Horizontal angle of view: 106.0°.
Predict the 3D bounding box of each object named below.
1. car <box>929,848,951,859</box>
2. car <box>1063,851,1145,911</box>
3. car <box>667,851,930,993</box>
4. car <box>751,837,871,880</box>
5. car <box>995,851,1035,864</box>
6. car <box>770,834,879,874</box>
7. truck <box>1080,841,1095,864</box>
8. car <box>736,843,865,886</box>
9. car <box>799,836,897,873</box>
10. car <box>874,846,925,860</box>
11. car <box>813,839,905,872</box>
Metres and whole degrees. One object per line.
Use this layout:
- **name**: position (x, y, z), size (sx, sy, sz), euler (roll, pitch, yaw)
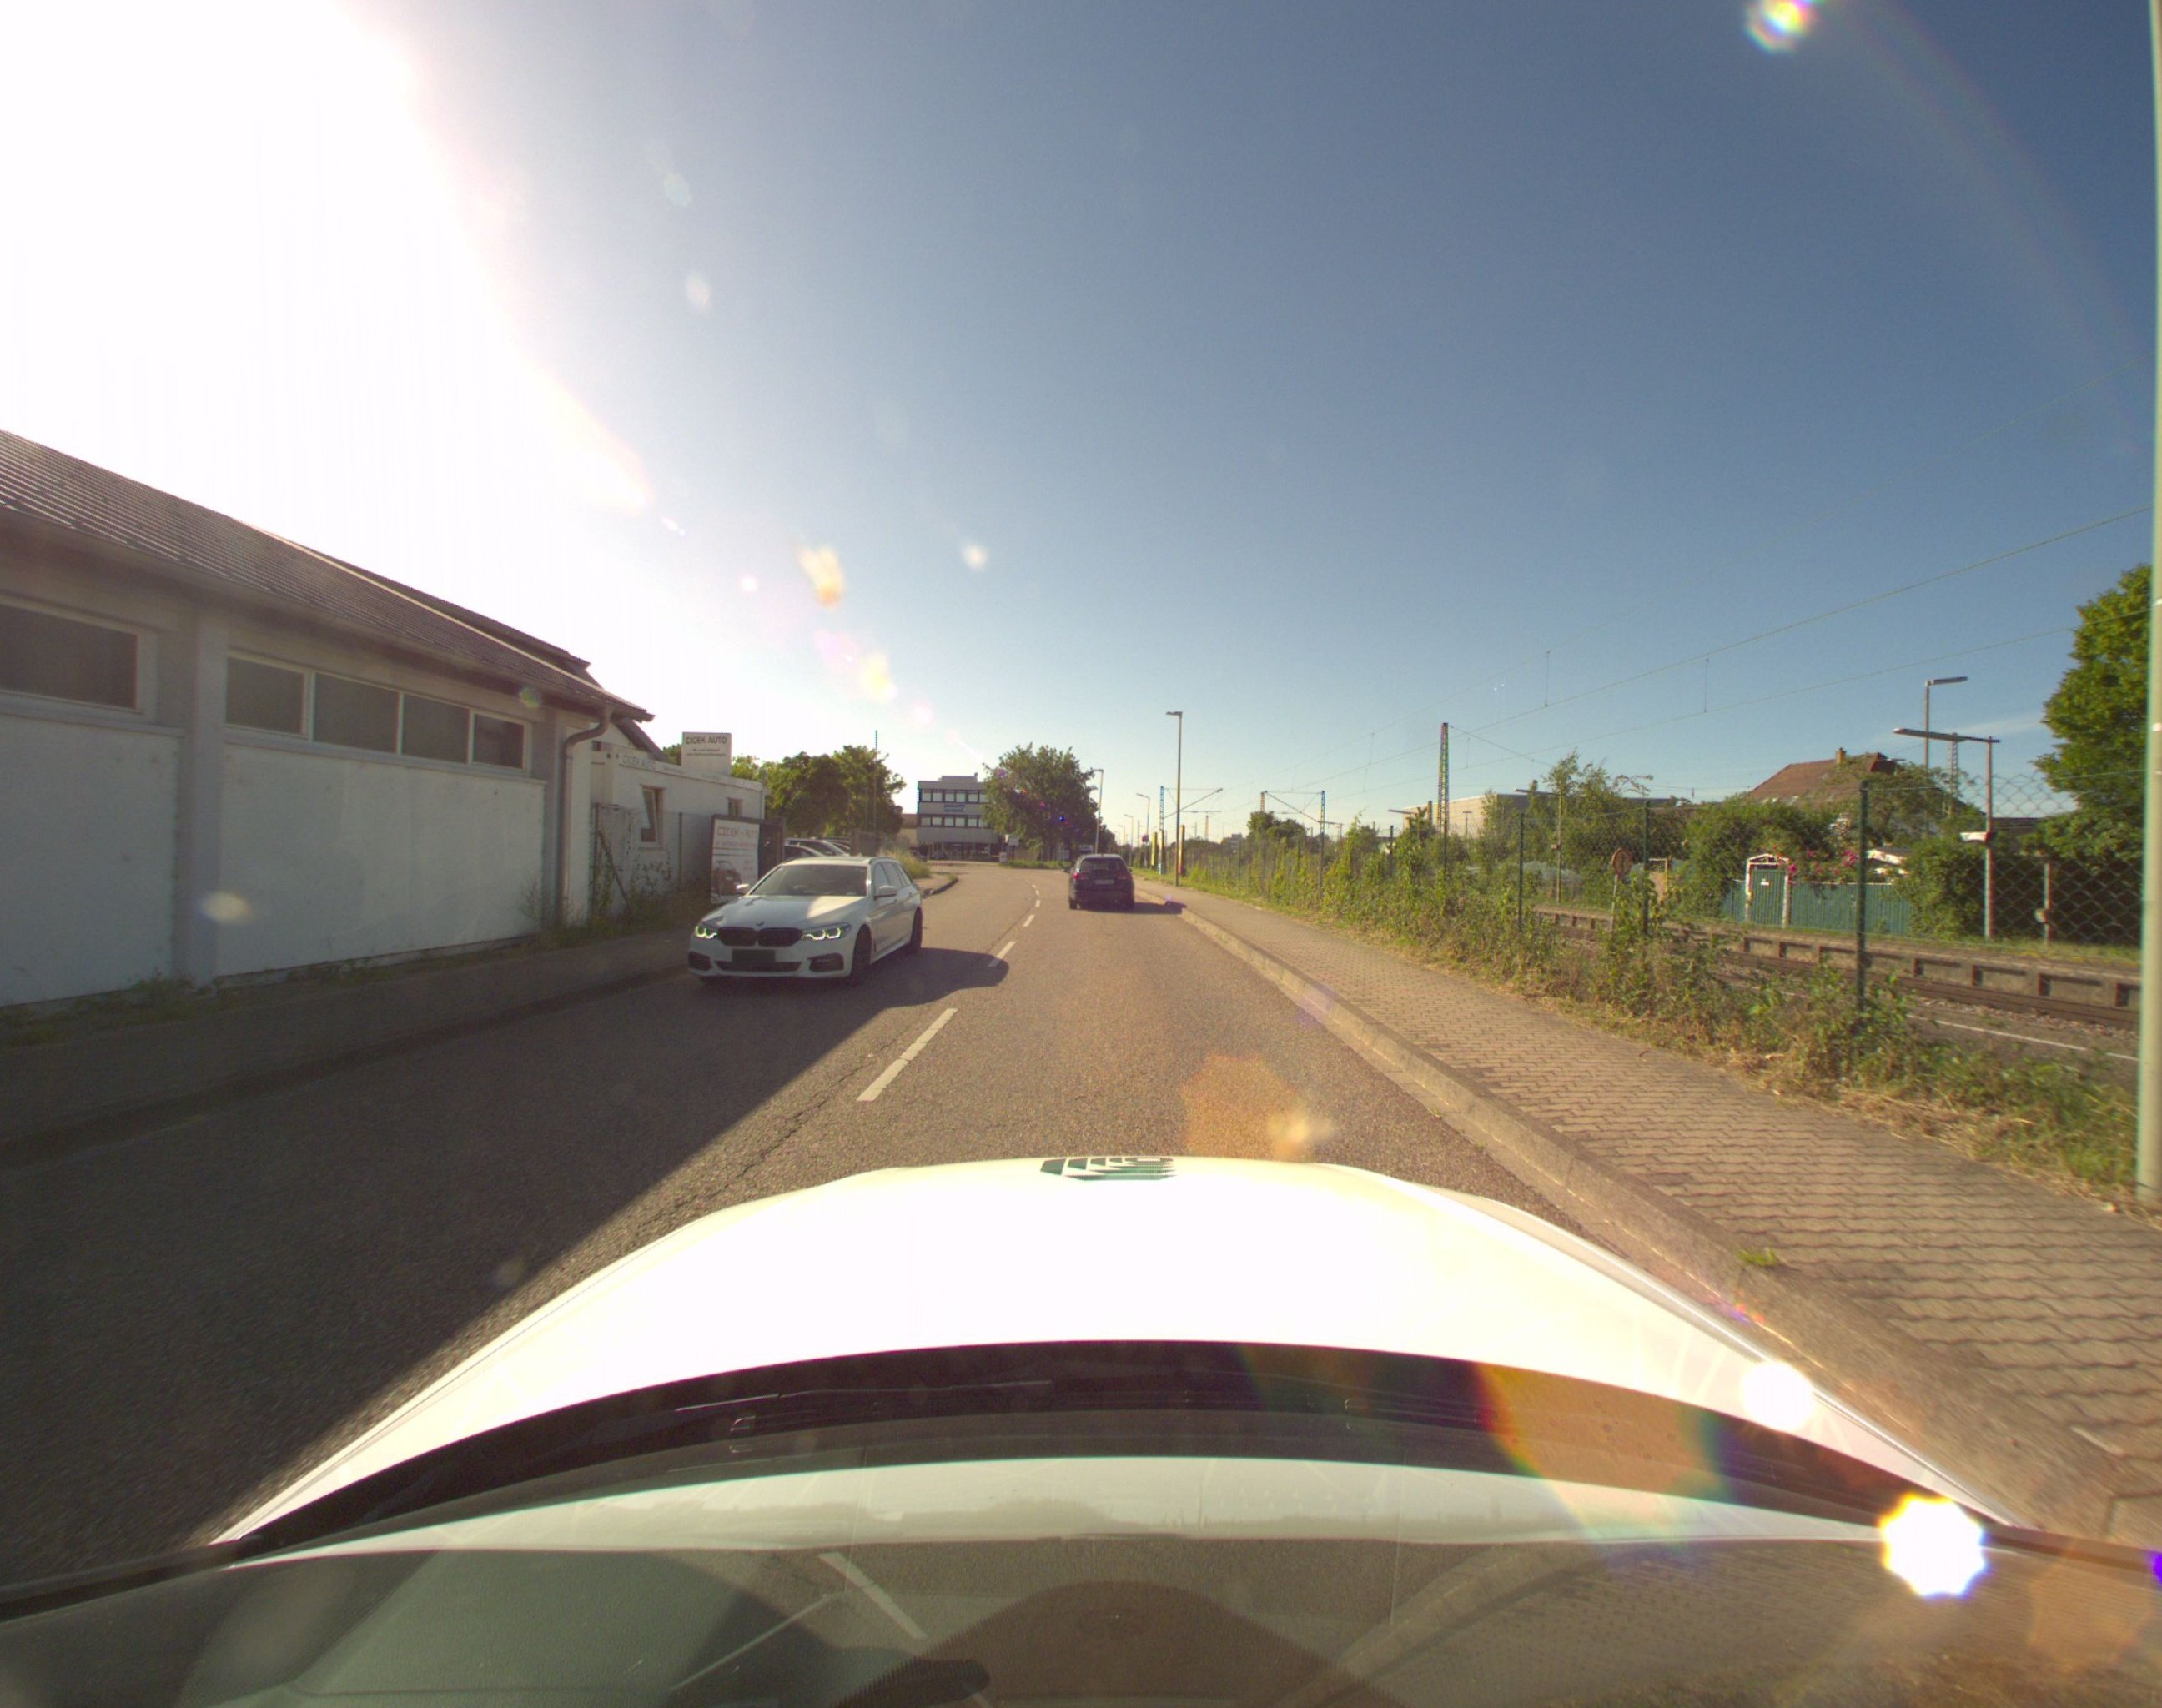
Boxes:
- **car**: position (-20.566, -0.105, 119.011), size (1.984, 1.484, 4.933), euler (1, 1, 4)
- **car**: position (0.544, 0.681, 23.142), size (1.938, 1.488, 4.559), euler (0, 1, -4)
- **car**: position (-3.402, 0.707, 10.896), size (1.802, 1.478, 4.688), euler (0, 0, 1)
- **car**: position (-11.086, 0.188, 33.726), size (4.388, 1.648, 1.835), euler (1, 0, -9)
- **car**: position (-8.692, 0.450, 107.353), size (4.886, 1.484, 2.003), euler (1, 1, 5)
- **car**: position (-11.273, 0.018, 36.124), size (4.391, 1.648, 1.833), euler (1, 0, -11)
- **truck**: position (1.121, -0.240, 151.533), size (2.605, 3.885, 13.528), euler (2, 0, 0)
- **car**: position (-10.721, 0.399, 31.432), size (4.388, 1.507, 1.835), euler (1, 0, -9)
- **car**: position (-11.093, 0.018, 39.090), size (4.395, 1.648, 1.832), euler (1, 0, -14)
- **car**: position (-19.457, -0.118, 87.478), size (4.893, 1.426, 2.000), euler (1, 0, 0)
- **car**: position (-11.926, 0.085, 43.758), size (4.417, 1.648, 1.823), euler (1, 0, -31)
